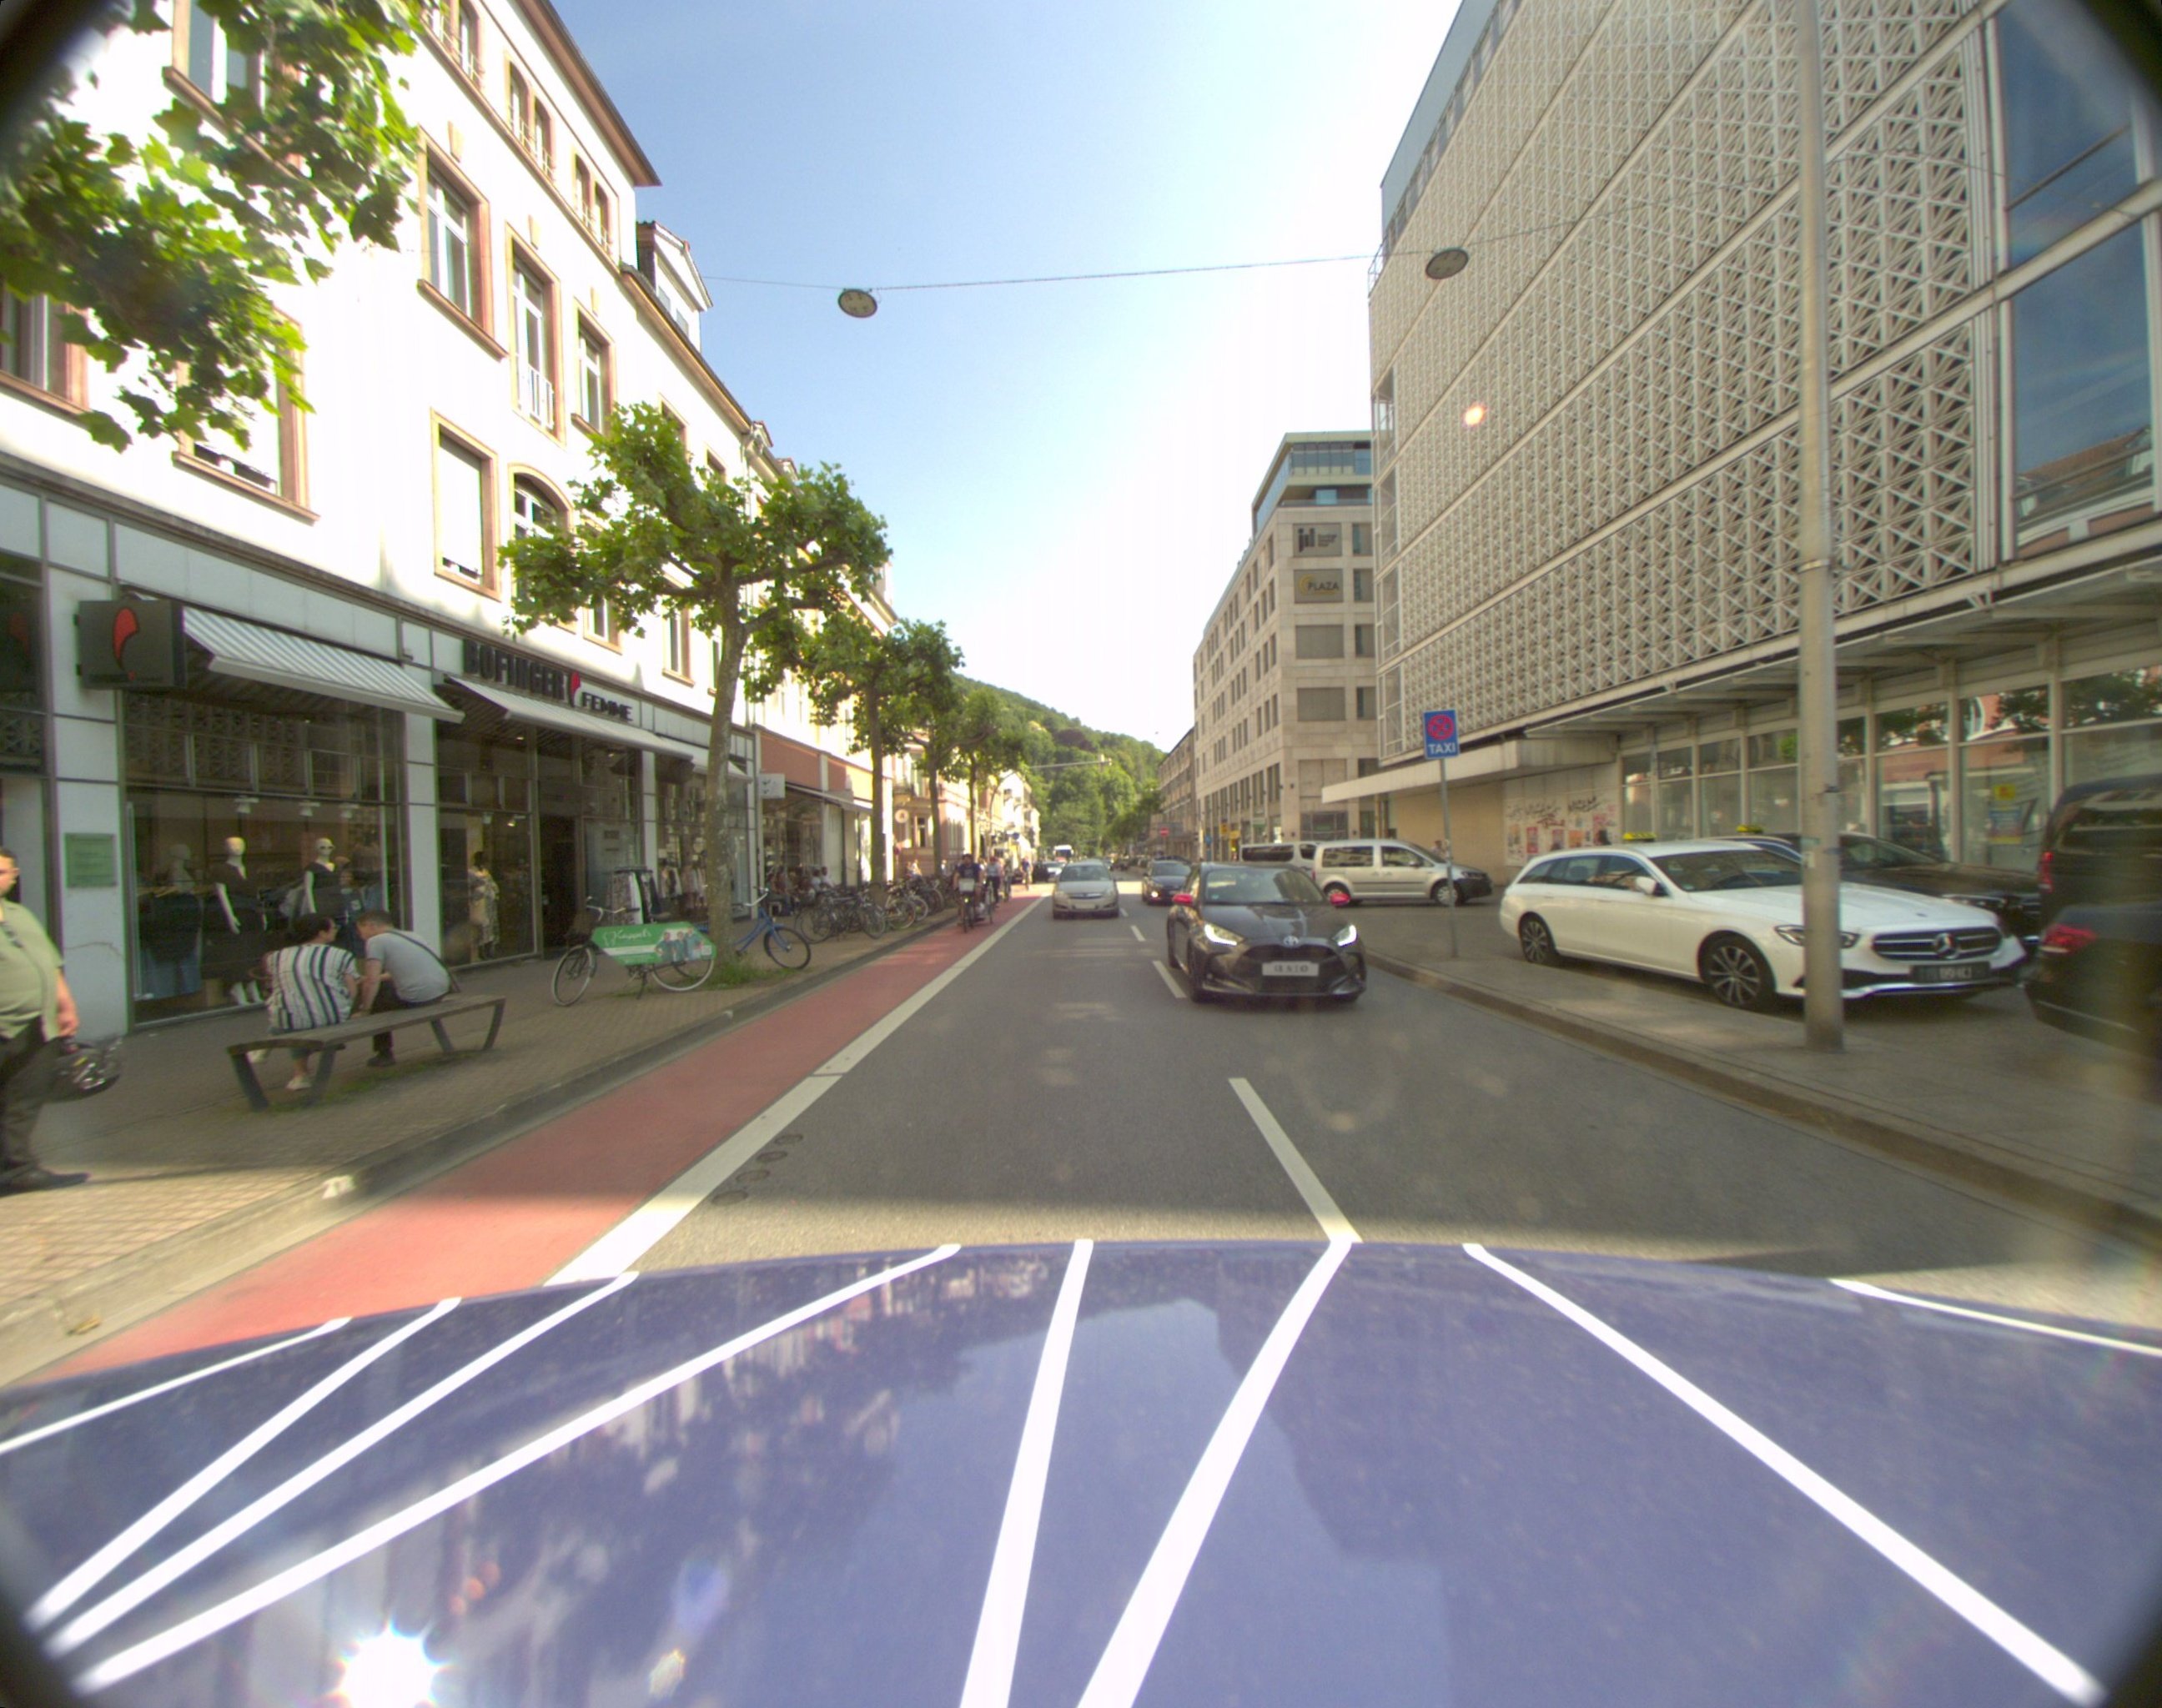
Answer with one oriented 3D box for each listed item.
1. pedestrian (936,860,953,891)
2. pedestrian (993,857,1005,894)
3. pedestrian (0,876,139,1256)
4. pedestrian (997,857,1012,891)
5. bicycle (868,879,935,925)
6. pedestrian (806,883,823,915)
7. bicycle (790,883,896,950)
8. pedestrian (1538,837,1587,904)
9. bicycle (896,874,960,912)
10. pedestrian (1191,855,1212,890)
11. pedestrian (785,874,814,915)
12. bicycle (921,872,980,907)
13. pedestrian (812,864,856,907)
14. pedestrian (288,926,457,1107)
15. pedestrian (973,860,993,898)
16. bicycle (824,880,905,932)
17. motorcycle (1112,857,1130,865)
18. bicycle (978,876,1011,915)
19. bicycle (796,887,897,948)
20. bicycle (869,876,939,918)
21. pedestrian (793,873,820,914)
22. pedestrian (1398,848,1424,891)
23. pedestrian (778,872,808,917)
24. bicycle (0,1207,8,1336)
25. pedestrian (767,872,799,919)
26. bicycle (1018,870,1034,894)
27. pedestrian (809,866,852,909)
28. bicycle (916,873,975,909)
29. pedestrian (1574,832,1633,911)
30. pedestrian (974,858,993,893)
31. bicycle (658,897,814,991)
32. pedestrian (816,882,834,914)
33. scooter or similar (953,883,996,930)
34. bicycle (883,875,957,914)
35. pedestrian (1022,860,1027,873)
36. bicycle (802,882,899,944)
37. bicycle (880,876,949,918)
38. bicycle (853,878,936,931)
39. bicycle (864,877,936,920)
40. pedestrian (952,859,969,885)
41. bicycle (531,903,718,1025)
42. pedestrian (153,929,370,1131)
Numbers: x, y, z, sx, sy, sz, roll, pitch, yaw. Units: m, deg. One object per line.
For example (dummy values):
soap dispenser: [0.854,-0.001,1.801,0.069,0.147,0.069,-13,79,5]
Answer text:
pedestrian: [-7.388,1.150,41.197,0.640,1.648,0.791,-2,-2,14]
pedestrian: [-4.050,1.046,37.685,0.453,1.784,0.608,-3,0,-2]
pedestrian: [-5.156,0.964,3.428,0.641,1.679,0.843,-4,0,-2]
pedestrian: [-4.018,1.042,40.108,0.641,1.700,0.789,3,3,-3]
bicycle: [-4.642,1.219,19.612,1.841,1.120,0.449,-1,2,29]
pedestrian: [-8.227,1.382,23.443,0.342,0.962,0.437,-2,0,2]
bicycle: [-4.667,1.218,15.014,1.846,1.120,0.632,-4,1,-10]
pedestrian: [10.715,0.358,16.910,0.594,1.428,0.641,-4,2,-2]
bicycle: [-4.804,1.223,23.935,1.844,1.120,0.679,-1,2,3]
pedestrian: [5.487,0.821,34.579,0.641,1.550,0.680,-3,0,-11]
pedestrian: [-8.753,1.239,23.635,0.683,1.246,0.532,0,0,-2]
bicycle: [-4.450,1.215,25.999,1.844,1.120,0.666,-1,1,3]
pedestrian: [-8.841,1.129,27.275,1.255,1.475,0.837,-2,1,-2]
pedestrian: [-5.378,1.206,5.806,0.641,1.226,0.596,-3,2,-2]
pedestrian: [-4.681,1.192,36.335,0.789,1.784,0.641,-3,0,-2]
bicycle: [-5.285,1.252,18.643,1.849,1.120,0.447,-2,2,-36]
motorcycle: [6.357,1.111,120.403,0.980,1.342,3.094,-1,0,-43]
bicycle: [-2.678,1.275,23.711,0.737,1.120,2.034,-2,0,0]
bicycle: [-4.758,1.281,15.515,1.846,1.087,0.564,-3,1,-10]
bicycle: [-4.976,1.214,21.376,1.844,1.120,0.448,-1,2,3]
pedestrian: [-8.759,1.258,24.234,0.641,1.246,0.608,0,2,-2]
pedestrian: [13.040,0.610,30.019,0.589,1.626,0.863,-3,0,0]
pedestrian: [-8.732,1.214,23.090,0.683,1.330,0.532,-1,0,-2]
bicycle: [-4.868,1.177,2.534,1.843,1.190,0.674,-2,1,8]
pedestrian: [-8.820,1.225,22.494,0.683,1.325,0.532,-2,0,-2]
bicycle: [-2.810,1.414,38.913,0.607,1.120,1.859,0,2,2]
pedestrian: [-8.694,1.148,26.412,1.236,1.414,0.789,-1,2,-2]
bicycle: [-4.509,1.221,25.308,1.844,1.120,0.530,-1,2,3]
pedestrian: [11.588,0.374,16.873,0.789,1.651,0.641,-4,2,-2]
pedestrian: [-4.752,1.035,37.153,0.789,1.680,0.641,-3,0,-2]
bicycle: [-4.764,1.231,10.560,1.845,1.120,0.497,-4,-1,-7]
pedestrian: [-8.116,1.391,24.108,0.365,0.962,0.437,-2,0,2]
scooter or similar: [-2.644,1.290,18.938,0.785,1.054,1.126,-3,0,4]
bicycle: [-4.842,1.219,22.889,1.988,1.120,0.762,-1,2,13]
pedestrian: [-7.351,1.593,98.808,0.482,1.659,0.868,-1,0,0]
bicycle: [-4.890,1.240,16.258,1.846,1.120,0.764,-4,2,-12]
bicycle: [-4.864,1.246,22.176,1.843,1.120,0.530,-3,1,13]
bicycle: [-4.537,1.208,18.580,1.849,1.120,0.592,-2,2,-35]
bicycle: [-4.963,1.216,20.917,1.844,1.120,0.448,-1,2,3]
pedestrian: [-7.974,1.188,50.278,0.904,1.603,0.974,-1,4,-28]
bicycle: [-5.267,1.234,8.902,1.783,1.190,0.576,-3,1,-27]
pedestrian: [-5.668,1.188,5.299,0.789,1.236,0.576,-3,2,-2]
